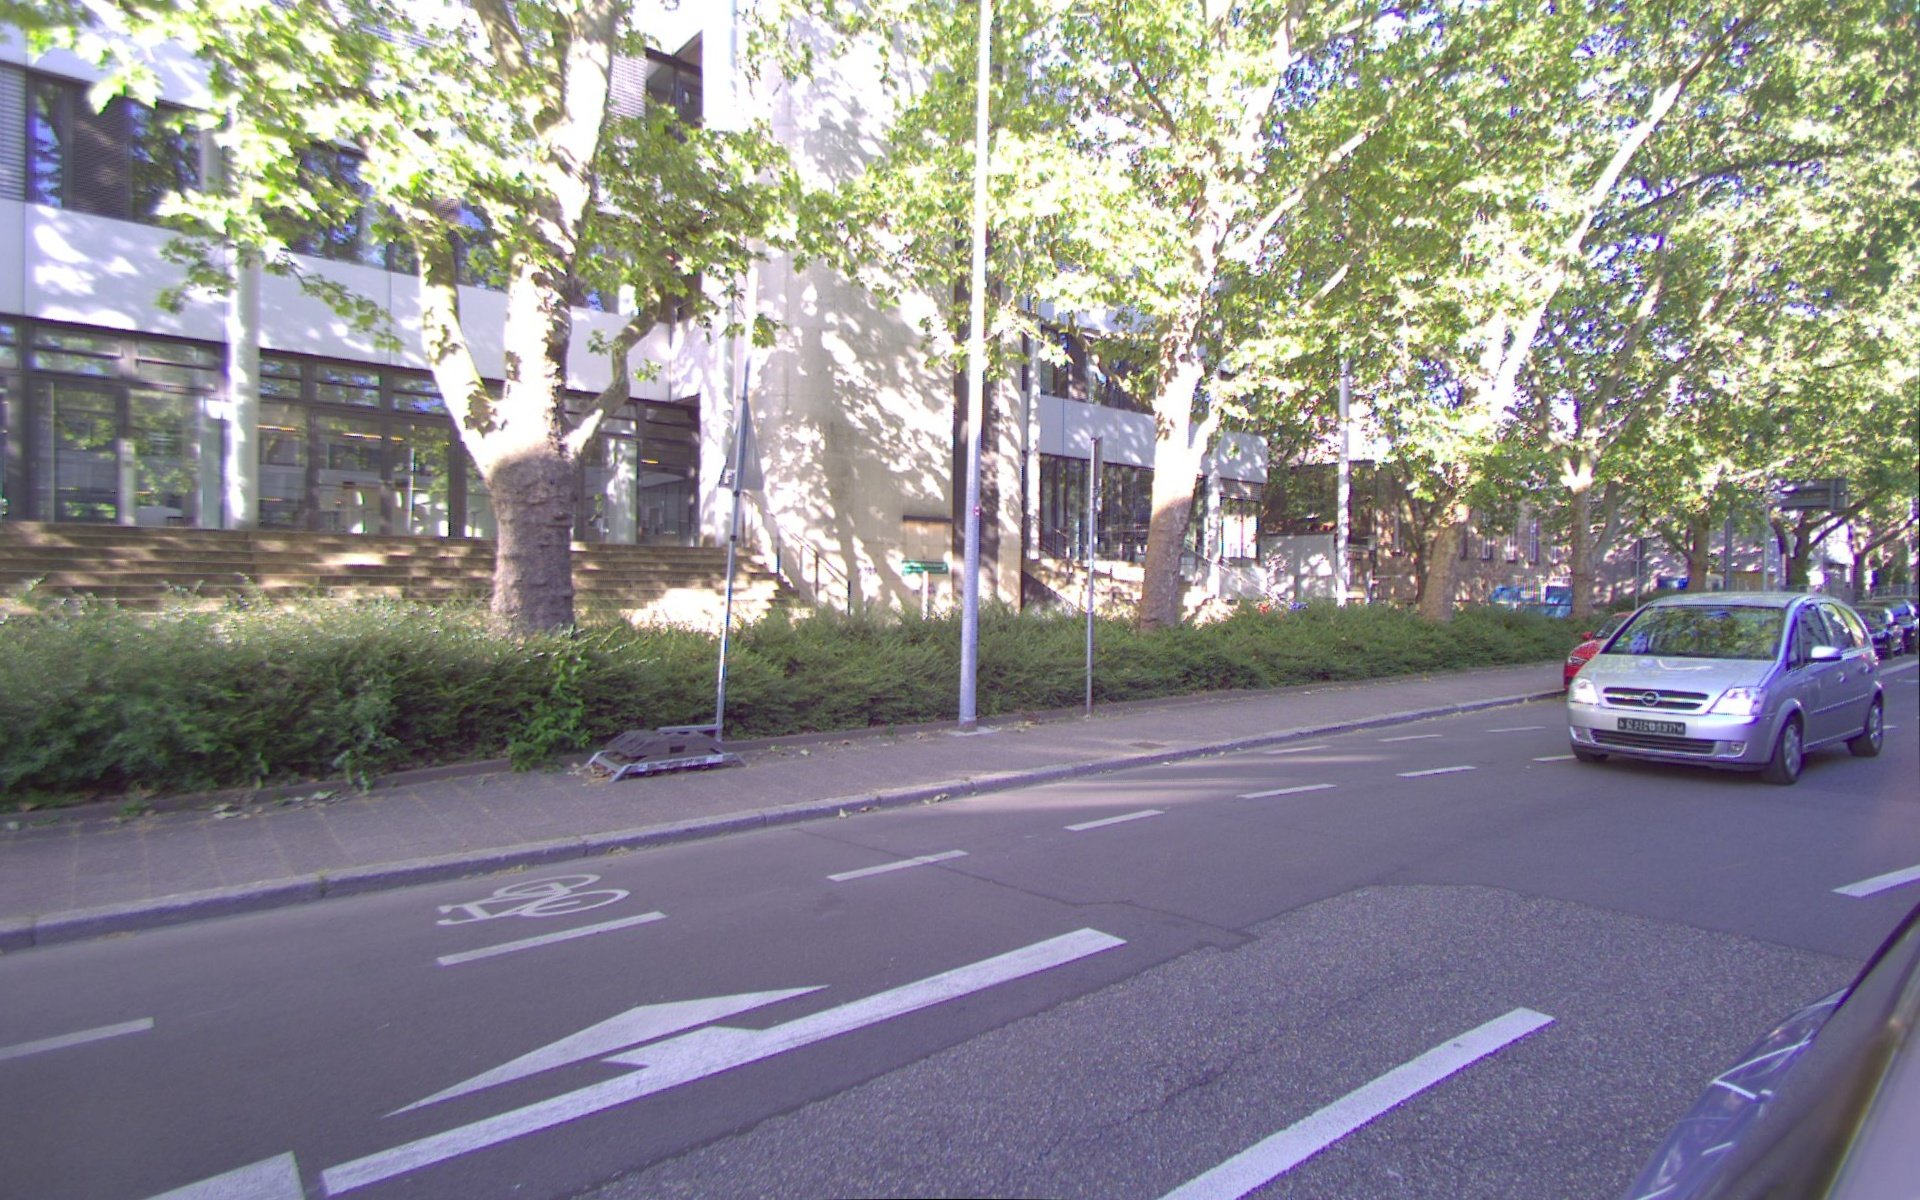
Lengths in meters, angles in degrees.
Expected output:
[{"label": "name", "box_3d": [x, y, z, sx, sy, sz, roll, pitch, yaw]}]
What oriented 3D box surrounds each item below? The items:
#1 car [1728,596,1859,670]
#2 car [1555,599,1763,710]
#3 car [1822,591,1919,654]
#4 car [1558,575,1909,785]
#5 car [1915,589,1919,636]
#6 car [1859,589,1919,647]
[{"label": "car", "box_3d": [18.665, 0.694, 22.613, 3.851, 1.511, 1.679, 0, -1, -42]}, {"label": "car", "box_3d": [11.279, 0.774, 16.237, 4.071, 1.548, 1.827, 0, -1, -42]}, {"label": "car", "box_3d": [26.025, 0.583, 28.829, 4.022, 1.653, 1.739, 0, 1, -42]}, {"label": "car", "box_3d": [7.465, 0.606, 9.664, 3.787, 1.623, 1.706, 0, 0, -37]}, {"label": "car", "box_3d": [39.779, 0.498, 40.655, 3.829, 1.818, 1.739, 0, 1, -42]}, {"label": "car", "box_3d": [29.671, 0.525, 31.838, 3.840, 1.708, 1.633, 0, 1, -42]}]
